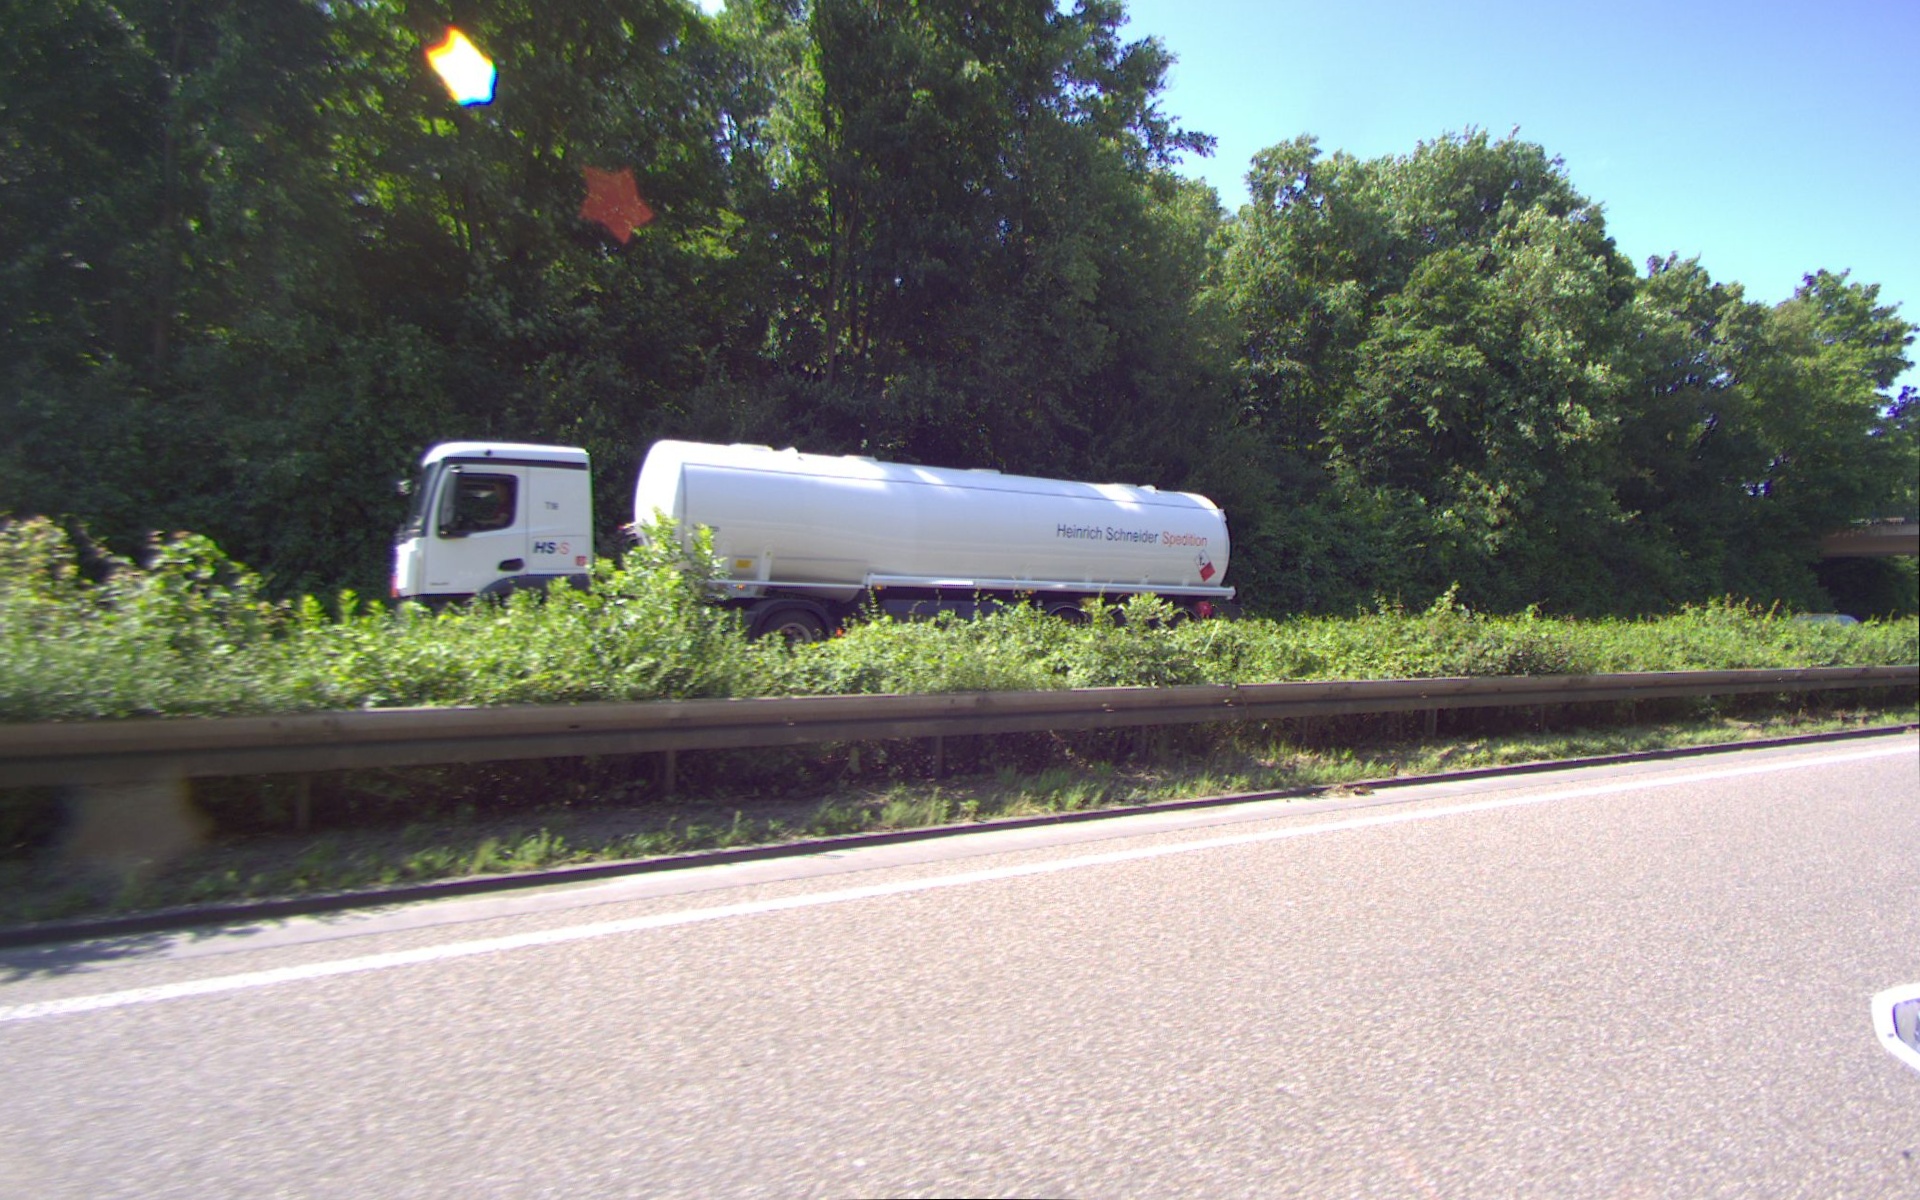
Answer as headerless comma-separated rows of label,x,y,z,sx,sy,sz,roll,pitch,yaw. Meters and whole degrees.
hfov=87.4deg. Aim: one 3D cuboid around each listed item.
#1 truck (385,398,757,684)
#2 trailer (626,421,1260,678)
truck,-5.405,-0.663,14.041,4.488,3.386,2.327,1,0,-30
trailer,0.330,-0.566,17.179,11.285,3.447,1.984,1,0,-30
